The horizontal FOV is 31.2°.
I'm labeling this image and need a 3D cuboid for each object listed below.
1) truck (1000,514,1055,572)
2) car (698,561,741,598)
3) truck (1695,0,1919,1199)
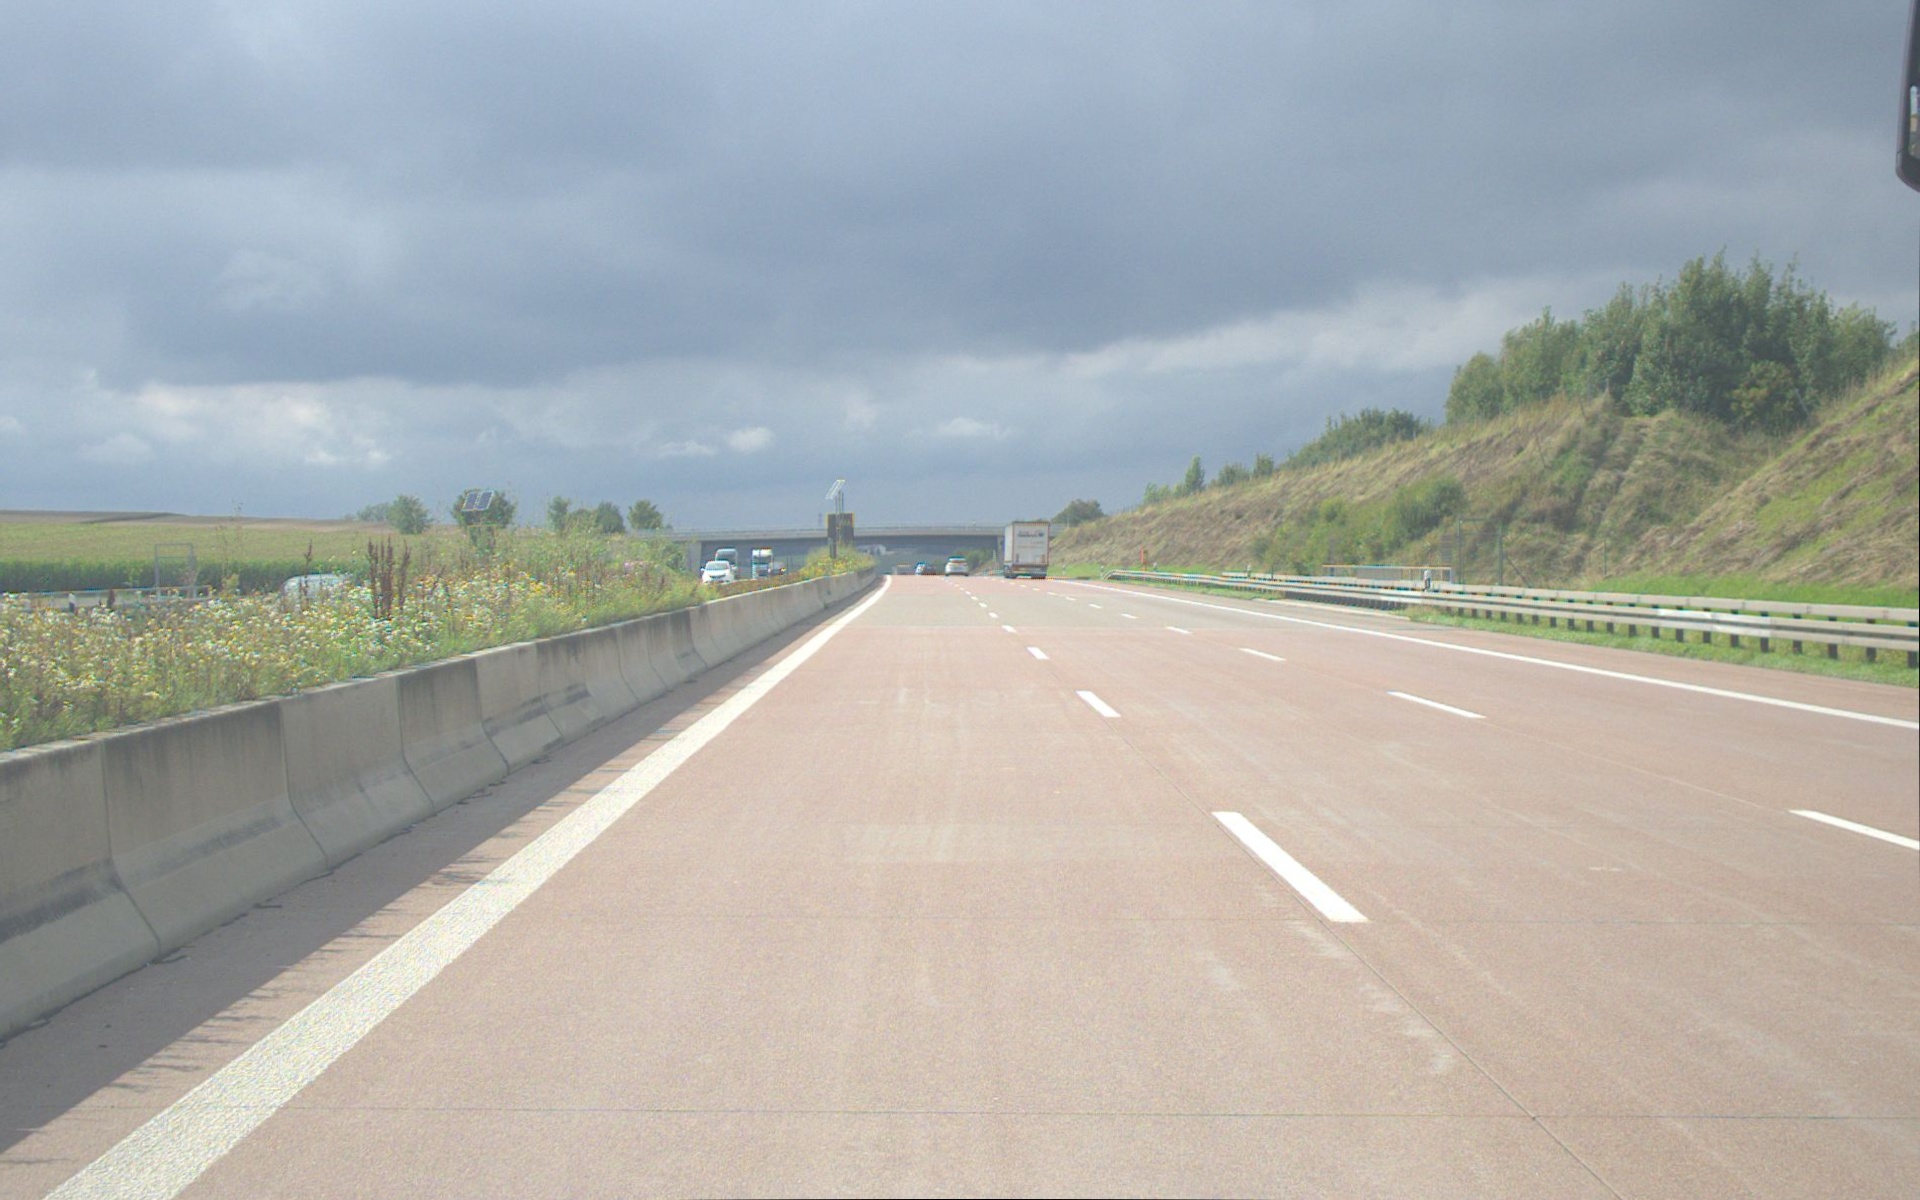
[{"bbox_3d":[4.771,-4.072,244.569,3.617,3.932,11.174,2,1,0],"label":"truck"},{"bbox_3d":[-14.063,-1.230,201.145,1.993,2.063,4.711,-1,1,1],"label":"car"},{"bbox_3d":[3.460,-0.306,4.583,2.847,3.537,8.320,1,1,-2],"label":"truck"}]
